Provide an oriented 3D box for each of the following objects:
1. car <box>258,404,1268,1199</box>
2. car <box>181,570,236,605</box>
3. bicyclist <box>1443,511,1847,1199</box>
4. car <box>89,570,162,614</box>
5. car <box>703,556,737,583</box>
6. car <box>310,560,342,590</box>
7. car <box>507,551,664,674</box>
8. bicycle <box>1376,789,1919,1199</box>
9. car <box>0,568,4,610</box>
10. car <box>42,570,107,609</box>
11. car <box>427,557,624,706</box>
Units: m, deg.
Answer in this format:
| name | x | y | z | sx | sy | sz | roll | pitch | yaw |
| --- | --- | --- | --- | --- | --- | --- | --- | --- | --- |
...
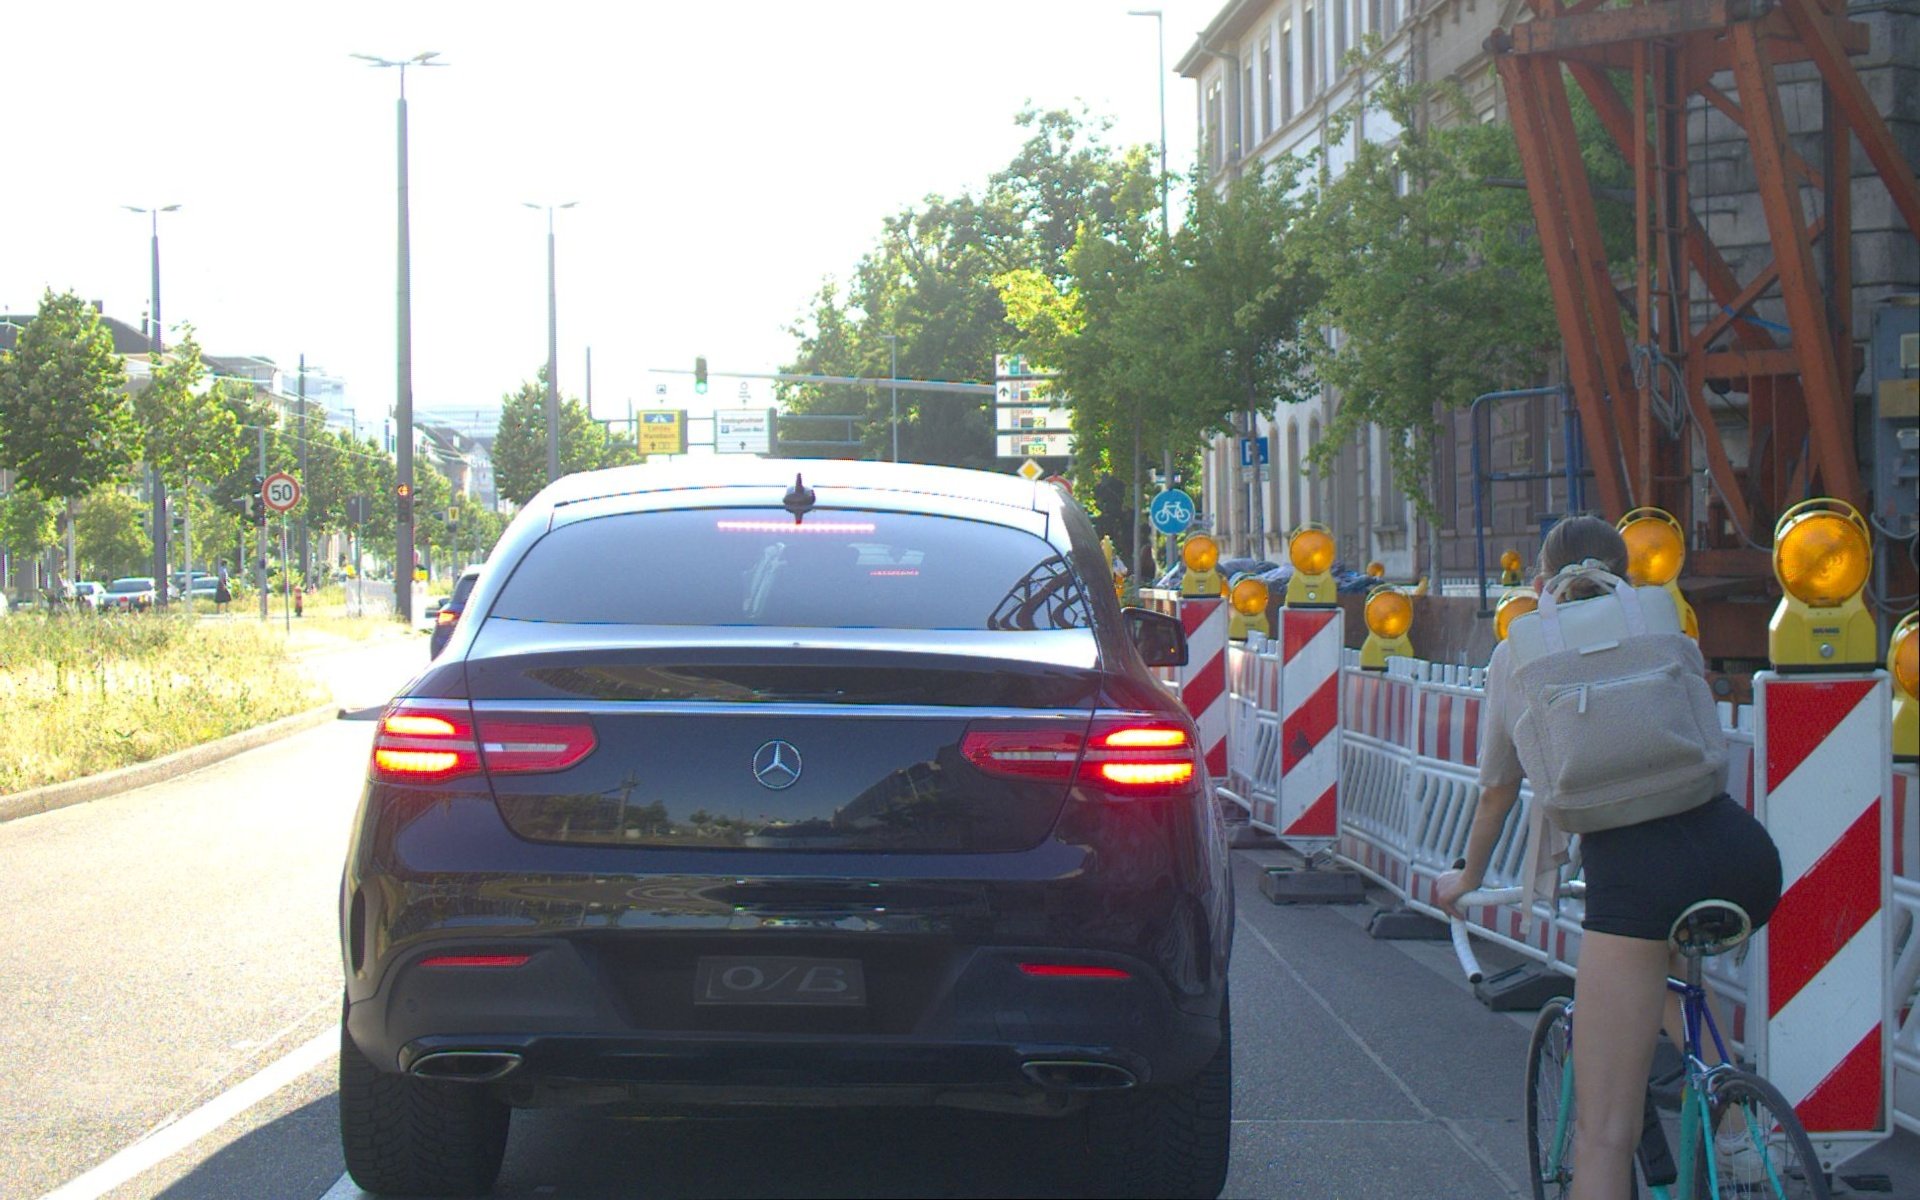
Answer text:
| name | x | y | z | sx | sy | sz | roll | pitch | yaw |
| --- | --- | --- | --- | --- | --- | --- | --- | --- | --- |
| car | -0.416 | 0.486 | 8.862 | 1.993 | 1.766 | 4.000 | 1 | 1 | -1 |
| car | -32.186 | -0.535 | 147.280 | 1.708 | 1.437 | 3.583 | 1 | 1 | -3 |
| bicyclist | 1.157 | 0.551 | 5.900 | 0.522 | 1.391 | 0.615 | 1 | 0 | -3 |
| car | -27.915 | -0.282 | 115.064 | 1.708 | 1.437 | 3.583 | 1 | 1 | -3 |
| car | -12.860 | -1.629 | 184.301 | 1.708 | 1.437 | 3.583 | 1 | 1 | -3 |
| car | -43.385 | -1.692 | 235.225 | 1.993 | 2.007 | 4.001 | 1 | 1 | -12 |
| car | -4.613 | 0.132 | 42.721 | 1.708 | 1.437 | 3.583 | 1 | 1 | -3 |
| bicycle | 1.141 | 0.915 | 6.028 | 0.512 | 1.048 | 1.725 | 1 | 1 | -3 |
| car | -33.417 | -0.361 | 115.526 | 1.708 | 1.437 | 3.583 | 1 | 1 | -3 |
| car | -34.233 | -0.417 | 132.984 | 1.708 | 1.437 | 3.583 | 1 | 1 | -3 |
| car | -4.418 | 0.288 | 35.373 | 1.708 | 1.437 | 3.583 | 1 | 1 | -3 |
